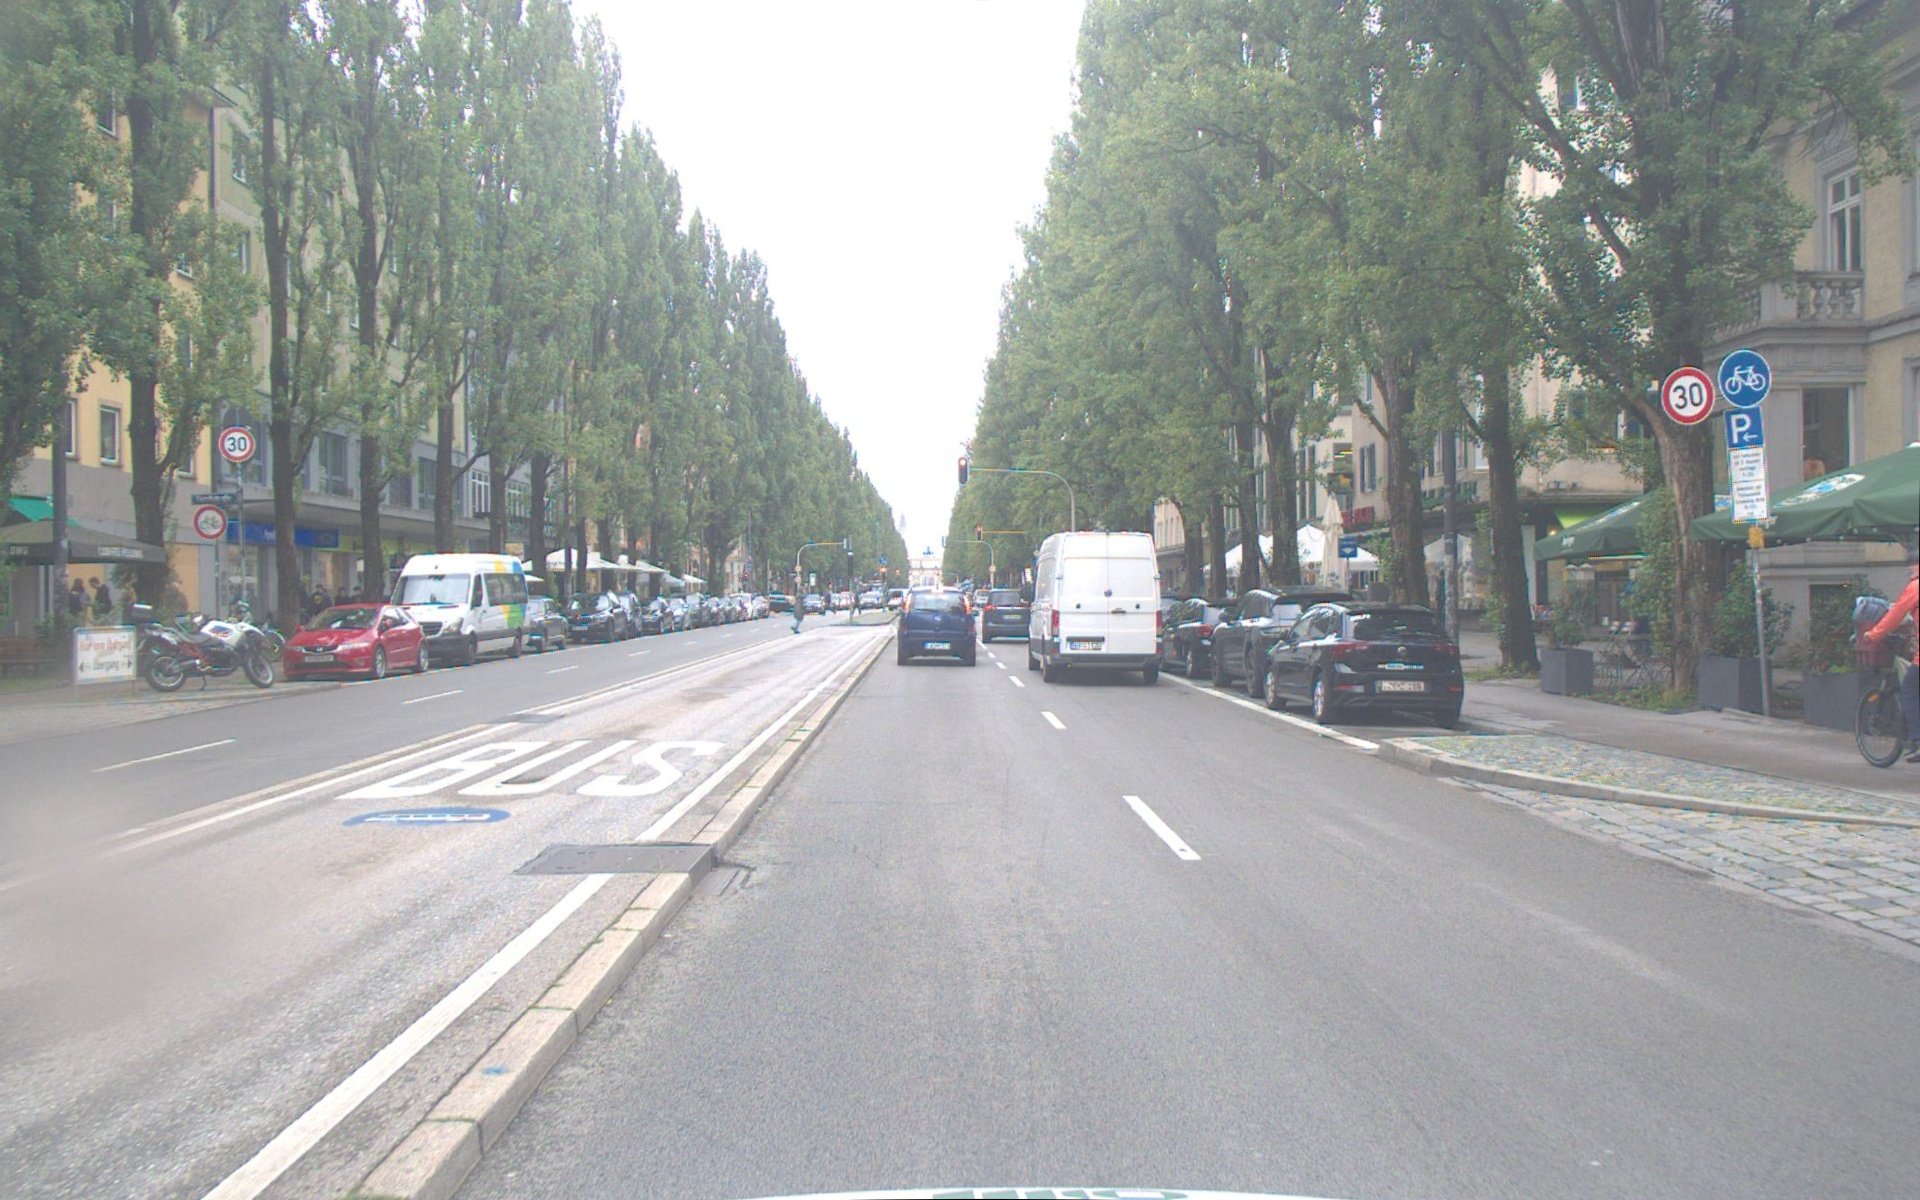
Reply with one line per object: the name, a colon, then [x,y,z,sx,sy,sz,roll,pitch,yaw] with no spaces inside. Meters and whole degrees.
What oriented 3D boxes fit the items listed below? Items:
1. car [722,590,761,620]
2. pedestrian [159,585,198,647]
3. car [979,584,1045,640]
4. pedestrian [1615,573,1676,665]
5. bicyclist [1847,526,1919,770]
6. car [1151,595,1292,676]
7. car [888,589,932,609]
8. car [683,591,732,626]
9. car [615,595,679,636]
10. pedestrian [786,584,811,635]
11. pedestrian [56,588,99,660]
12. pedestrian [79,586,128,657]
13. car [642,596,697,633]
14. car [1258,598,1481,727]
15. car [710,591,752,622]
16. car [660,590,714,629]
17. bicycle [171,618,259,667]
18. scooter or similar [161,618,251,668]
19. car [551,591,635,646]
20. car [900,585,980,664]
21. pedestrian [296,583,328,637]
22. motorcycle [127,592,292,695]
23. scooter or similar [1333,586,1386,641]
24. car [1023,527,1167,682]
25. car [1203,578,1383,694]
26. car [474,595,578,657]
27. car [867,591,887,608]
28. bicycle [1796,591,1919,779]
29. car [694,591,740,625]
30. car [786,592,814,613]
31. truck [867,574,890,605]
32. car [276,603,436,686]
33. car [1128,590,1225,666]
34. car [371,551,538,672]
car: [-13.096,0.282,99.378,1.828,1.694,4.119,-2,0,-1]
pedestrian: [-21.330,0.420,45.144,0.683,1.664,0.727,-1,0,1]
car: [1.558,0.346,50.966,1.858,1.650,3.999,0,0,-1]
pedestrian: [12.984,0.350,31.353,0.781,1.707,0.877,-1,0,-1]
bicyclist: [7.405,0.347,12.646,0.752,1.797,0.885,-1,0,-2]
car: [4.903,0.632,31.585,1.676,1.418,4.339,0,0,-5]
car: [-4.236,-0.085,139.076,3.311,1.588,1.727,-1,0,-25]
car: [-12.769,0.409,83.857,1.828,1.694,4.119,-2,0,-1]
car: [-12.488,0.592,66.239,1.762,1.514,4.349,-2,0,-1]
pedestrian: [-5.535,0.327,56.727,0.843,1.714,0.626,-1,0,-4]
pedestrian: [-20.661,0.551,38.709,0.683,1.664,0.564,-1,0,23]
pedestrian: [-20.301,0.505,39.214,0.683,1.664,0.727,-1,0,23]
car: [-12.571,0.598,71.742,1.698,1.450,4.142,-2,0,-1]
car: [5.037,0.711,20.873,1.660,1.441,3.949,0,0,-3]
car: [-12.999,0.344,94.118,1.828,1.694,4.119,-2,0,-1]
car: [-12.734,0.432,77.361,1.828,1.694,4.399,-2,0,-1]
bicycle: [-16.651,0.937,36.986,1.738,1.044,0.421,-1,0,-4]
scooter or similar: [-16.589,0.935,36.401,1.738,1.044,0.421,-1,0,-4]
car: [-12.248,0.588,55.435,1.828,1.693,4.610,-2,0,-1]
car: [-0.441,0.484,35.766,1.637,1.596,3.999,0,0,-1]
pedestrian: [-21.034,0.311,53.704,0.683,1.729,0.727,-1,0,3]
motorcycle: [-12.055,0.670,26.640,2.330,1.591,0.703,0,0,-44]
scooter or similar: [10.832,0.342,44.932,0.624,1.400,2.493,-2,1,-5]
car: [2.354,0.048,30.611,2.021,2.536,6.729,0,0,-1]
car: [5.157,0.520,26.202,1.767,1.666,4.445,1,0,-3]
car: [-12.285,0.704,47.099,1.828,1.579,4.413,-2,0,-1]
car: [-7.700,-0.041,153.777,1.700,1.491,3.364,-1,0,-1]
bicycle: [7.409,0.622,12.620,0.757,1.372,2.448,-1,0,-2]
car: [-12.985,0.387,88.591,1.828,1.694,4.119,-2,0,-1]
car: [-11.799,0.158,122.501,1.663,1.488,4.711,-2,0,-1]
truck: [-9.005,-1.141,183.045,2.334,3.405,7.109,-1,0,-1]
car: [-11.963,0.838,33.052,1.702,1.444,4.147,-2,0,-1]
car: [4.584,0.565,35.312,1.560,1.544,2.728,1,0,-3]
car: [-12.054,0.232,40.005,1.965,2.612,6.910,-2,0,-1]
